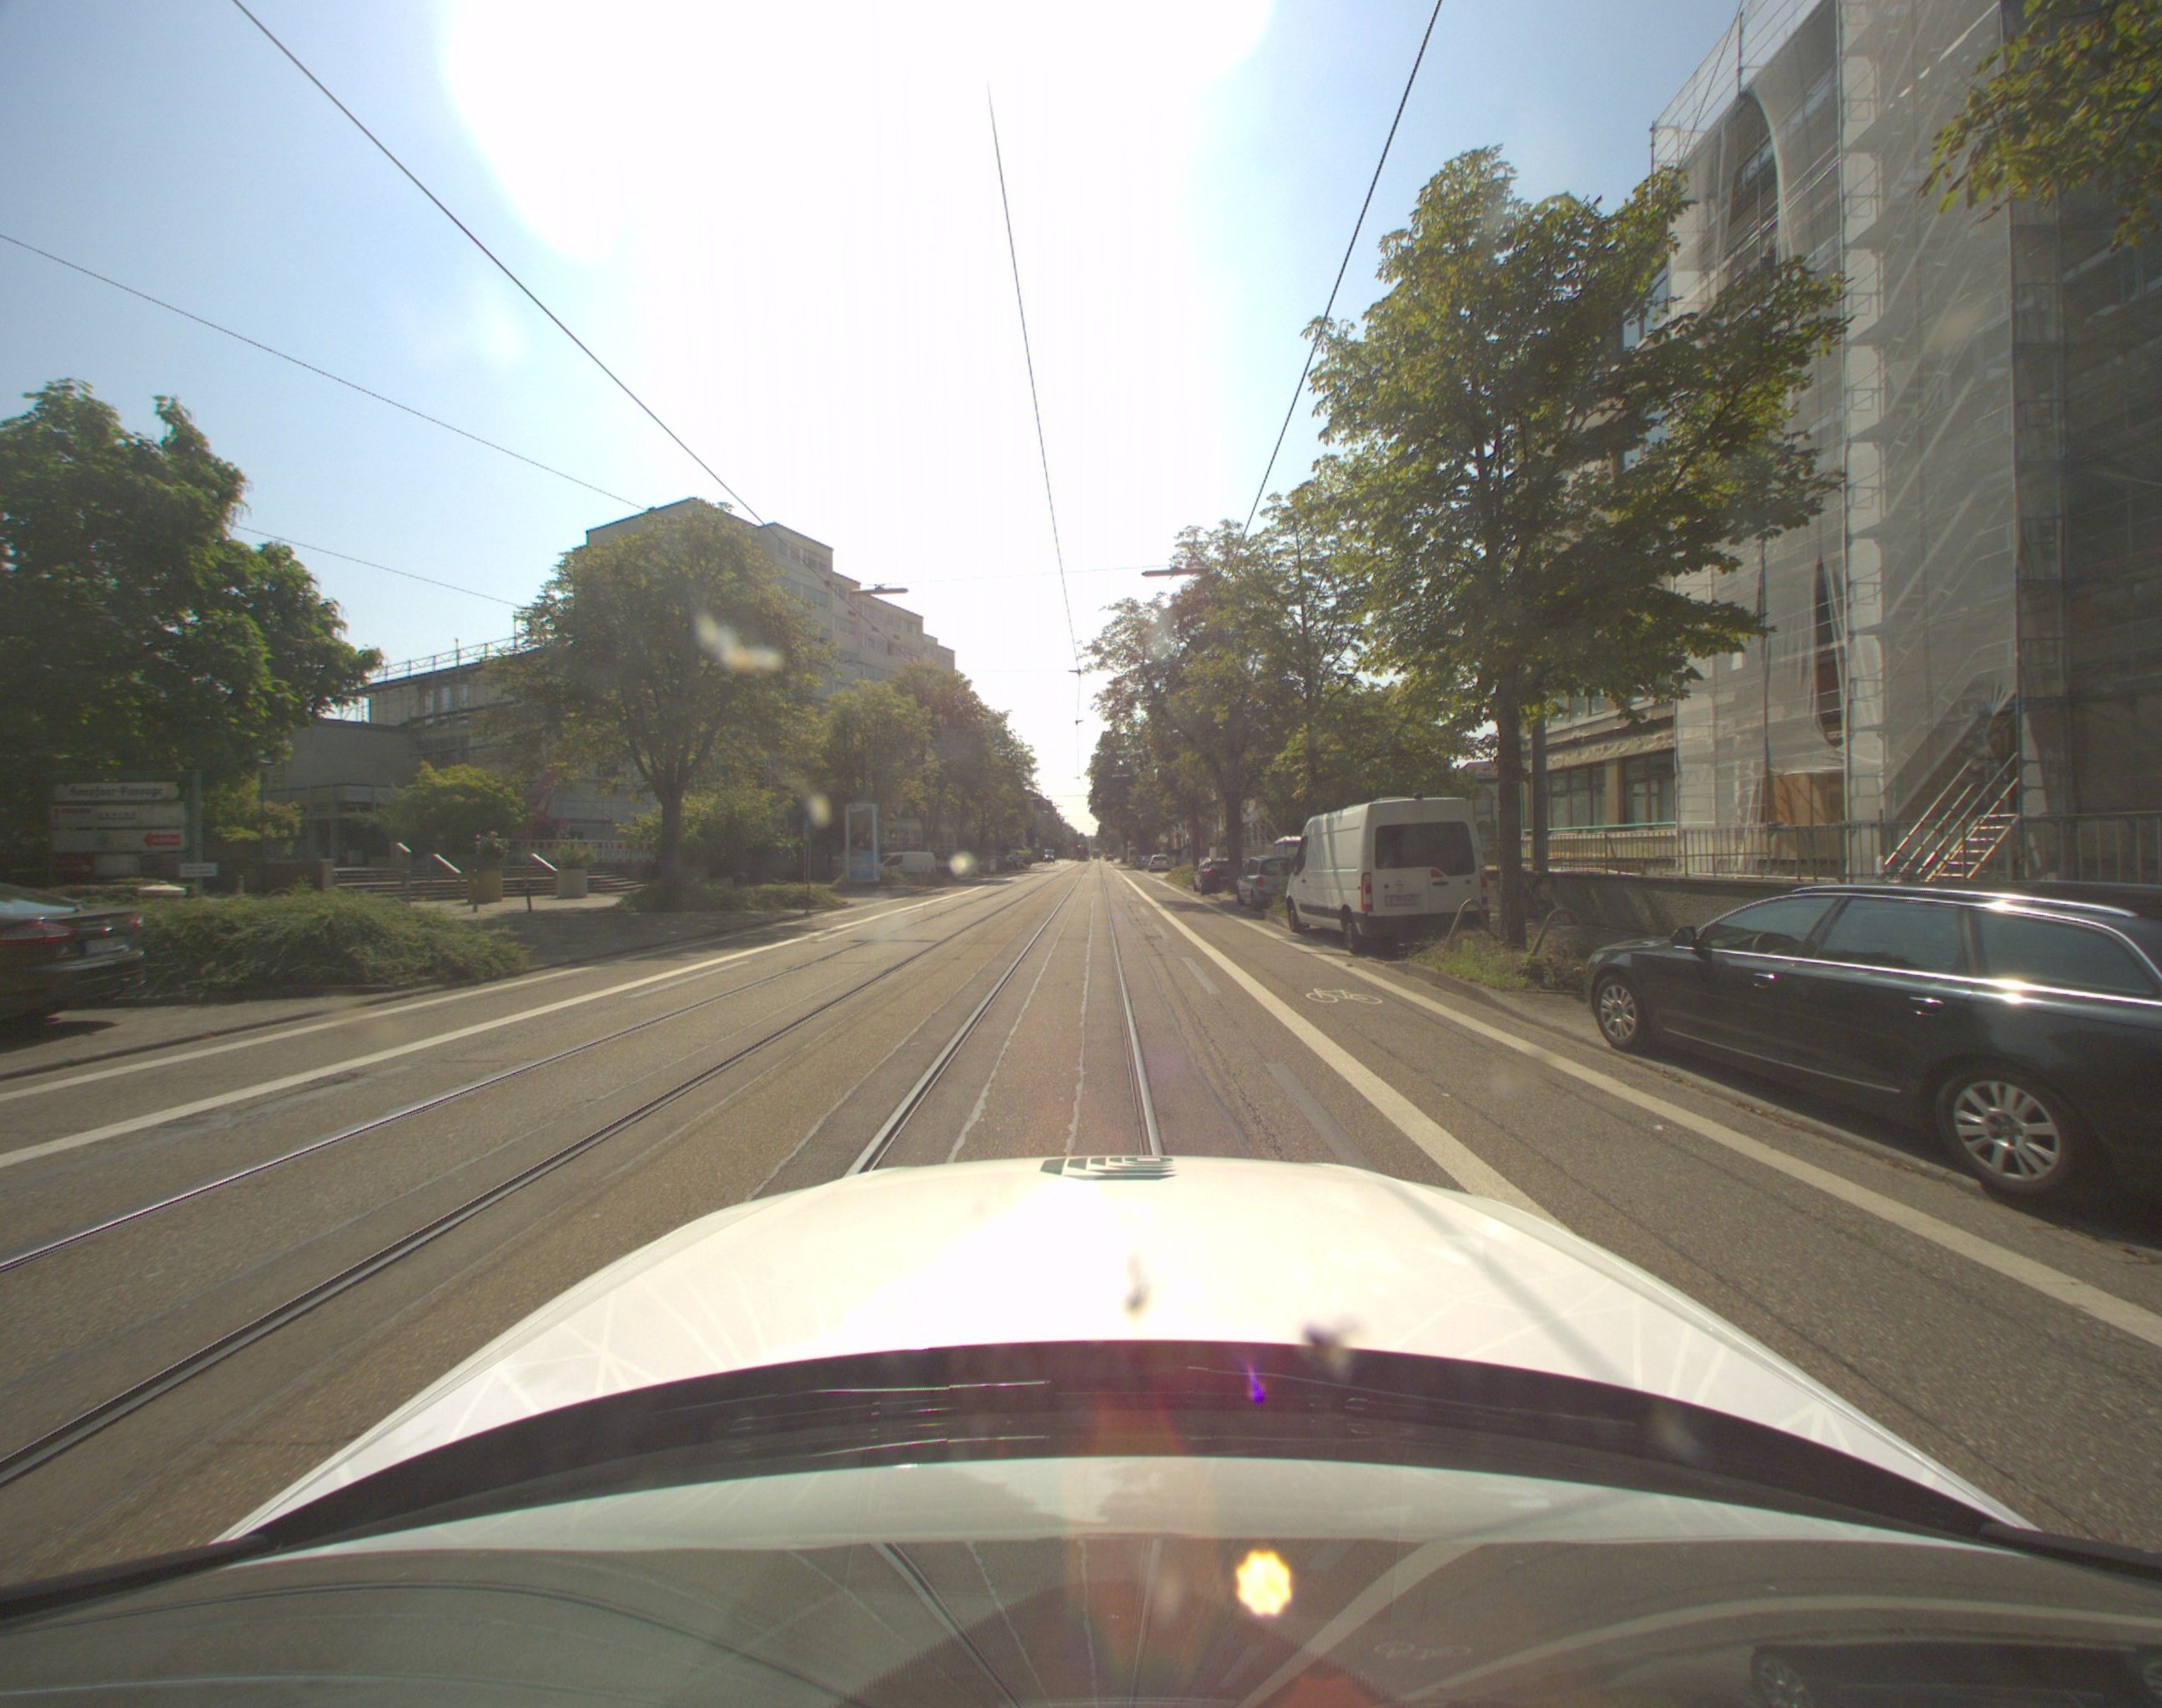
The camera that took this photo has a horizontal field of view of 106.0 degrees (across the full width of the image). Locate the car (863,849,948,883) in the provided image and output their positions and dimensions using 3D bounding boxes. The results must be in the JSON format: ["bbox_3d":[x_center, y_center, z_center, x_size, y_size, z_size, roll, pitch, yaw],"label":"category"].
[{"bbox_3d":[-9.699,0.637,45.155,4.309,1.772,1.803,-1,0,-42],"label":"car"}]

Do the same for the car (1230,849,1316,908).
[{"bbox_3d":[5.746,0.708,24.850,1.668,1.580,4.172,-2,-1,1],"label":"car"}]

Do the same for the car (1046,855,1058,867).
[{"bbox_3d":[-5.715,1.388,159.261,2.236,2.441,3.996,0,0,-2],"label":"car"}]

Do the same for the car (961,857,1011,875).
[{"bbox_3d":[-9.086,1.132,77.916,1.656,1.451,4.716,-1,1,44],"label":"car"}]

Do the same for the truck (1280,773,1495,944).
[{"bbox_3d":[5.363,0.080,15.239,1.910,2.599,5.591,-1,0,0],"label":"truck"}]

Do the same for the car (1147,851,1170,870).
[{"bbox_3d":[6.428,0.536,68.008,1.783,1.446,3.736,-2,0,4],"label":"car"}]

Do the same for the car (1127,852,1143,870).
[{"bbox_3d":[7.293,0.962,109.338,1.986,2.365,4.001,0,0,1],"label":"car"}]

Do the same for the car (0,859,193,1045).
[{"bbox_3d":[-10.753,0.818,6.690,4.303,1.497,1.766,0,0,-25],"label":"car"}]

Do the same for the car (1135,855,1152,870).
[{"bbox_3d":[6.691,0.925,87.688,1.787,1.577,4.003,-1,0,3],"label":"car"}]

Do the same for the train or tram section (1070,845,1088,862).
[{"bbox_3d":[-0.331,-0.186,184.671,3.483,3.704,12.419,0,0,2],"label":"train or tram section"}]

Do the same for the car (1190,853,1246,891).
[{"bbox_3d":[5.743,0.732,34.566,1.668,1.458,4.665,-2,0,1],"label":"car"}]

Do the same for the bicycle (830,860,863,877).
[{"bbox_3d":[-16.206,0.998,56.275,2.318,1.169,0.605,1,-1,21],"label":"bicycle"}]

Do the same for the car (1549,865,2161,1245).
[{"bbox_3d":[5.117,0.811,5.148,1.679,1.440,4.805,-1,0,2],"label":"car"}]

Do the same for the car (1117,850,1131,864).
[{"bbox_3d":[7.201,0.481,136.359,1.989,2.233,3.995,-1,0,-4],"label":"car"}]

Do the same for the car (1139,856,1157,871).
[{"bbox_3d":[6.694,0.937,81.490,1.635,1.511,3.642,0,-1,1],"label":"car"}]

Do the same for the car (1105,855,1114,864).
[{"bbox_3d":[6.217,1.216,176.118,1.986,1.801,4.001,0,0,1],"label":"car"}]

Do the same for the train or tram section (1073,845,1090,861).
[{"bbox_3d":[0.158,-0.219,197.095,3.483,3.704,12.419,0,0,2],"label":"train or tram section"}]

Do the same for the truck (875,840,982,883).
[{"bbox_3d":[-9.134,0.424,49.064,5.998,2.434,2.126,-1,0,-38],"label":"truck"}]
